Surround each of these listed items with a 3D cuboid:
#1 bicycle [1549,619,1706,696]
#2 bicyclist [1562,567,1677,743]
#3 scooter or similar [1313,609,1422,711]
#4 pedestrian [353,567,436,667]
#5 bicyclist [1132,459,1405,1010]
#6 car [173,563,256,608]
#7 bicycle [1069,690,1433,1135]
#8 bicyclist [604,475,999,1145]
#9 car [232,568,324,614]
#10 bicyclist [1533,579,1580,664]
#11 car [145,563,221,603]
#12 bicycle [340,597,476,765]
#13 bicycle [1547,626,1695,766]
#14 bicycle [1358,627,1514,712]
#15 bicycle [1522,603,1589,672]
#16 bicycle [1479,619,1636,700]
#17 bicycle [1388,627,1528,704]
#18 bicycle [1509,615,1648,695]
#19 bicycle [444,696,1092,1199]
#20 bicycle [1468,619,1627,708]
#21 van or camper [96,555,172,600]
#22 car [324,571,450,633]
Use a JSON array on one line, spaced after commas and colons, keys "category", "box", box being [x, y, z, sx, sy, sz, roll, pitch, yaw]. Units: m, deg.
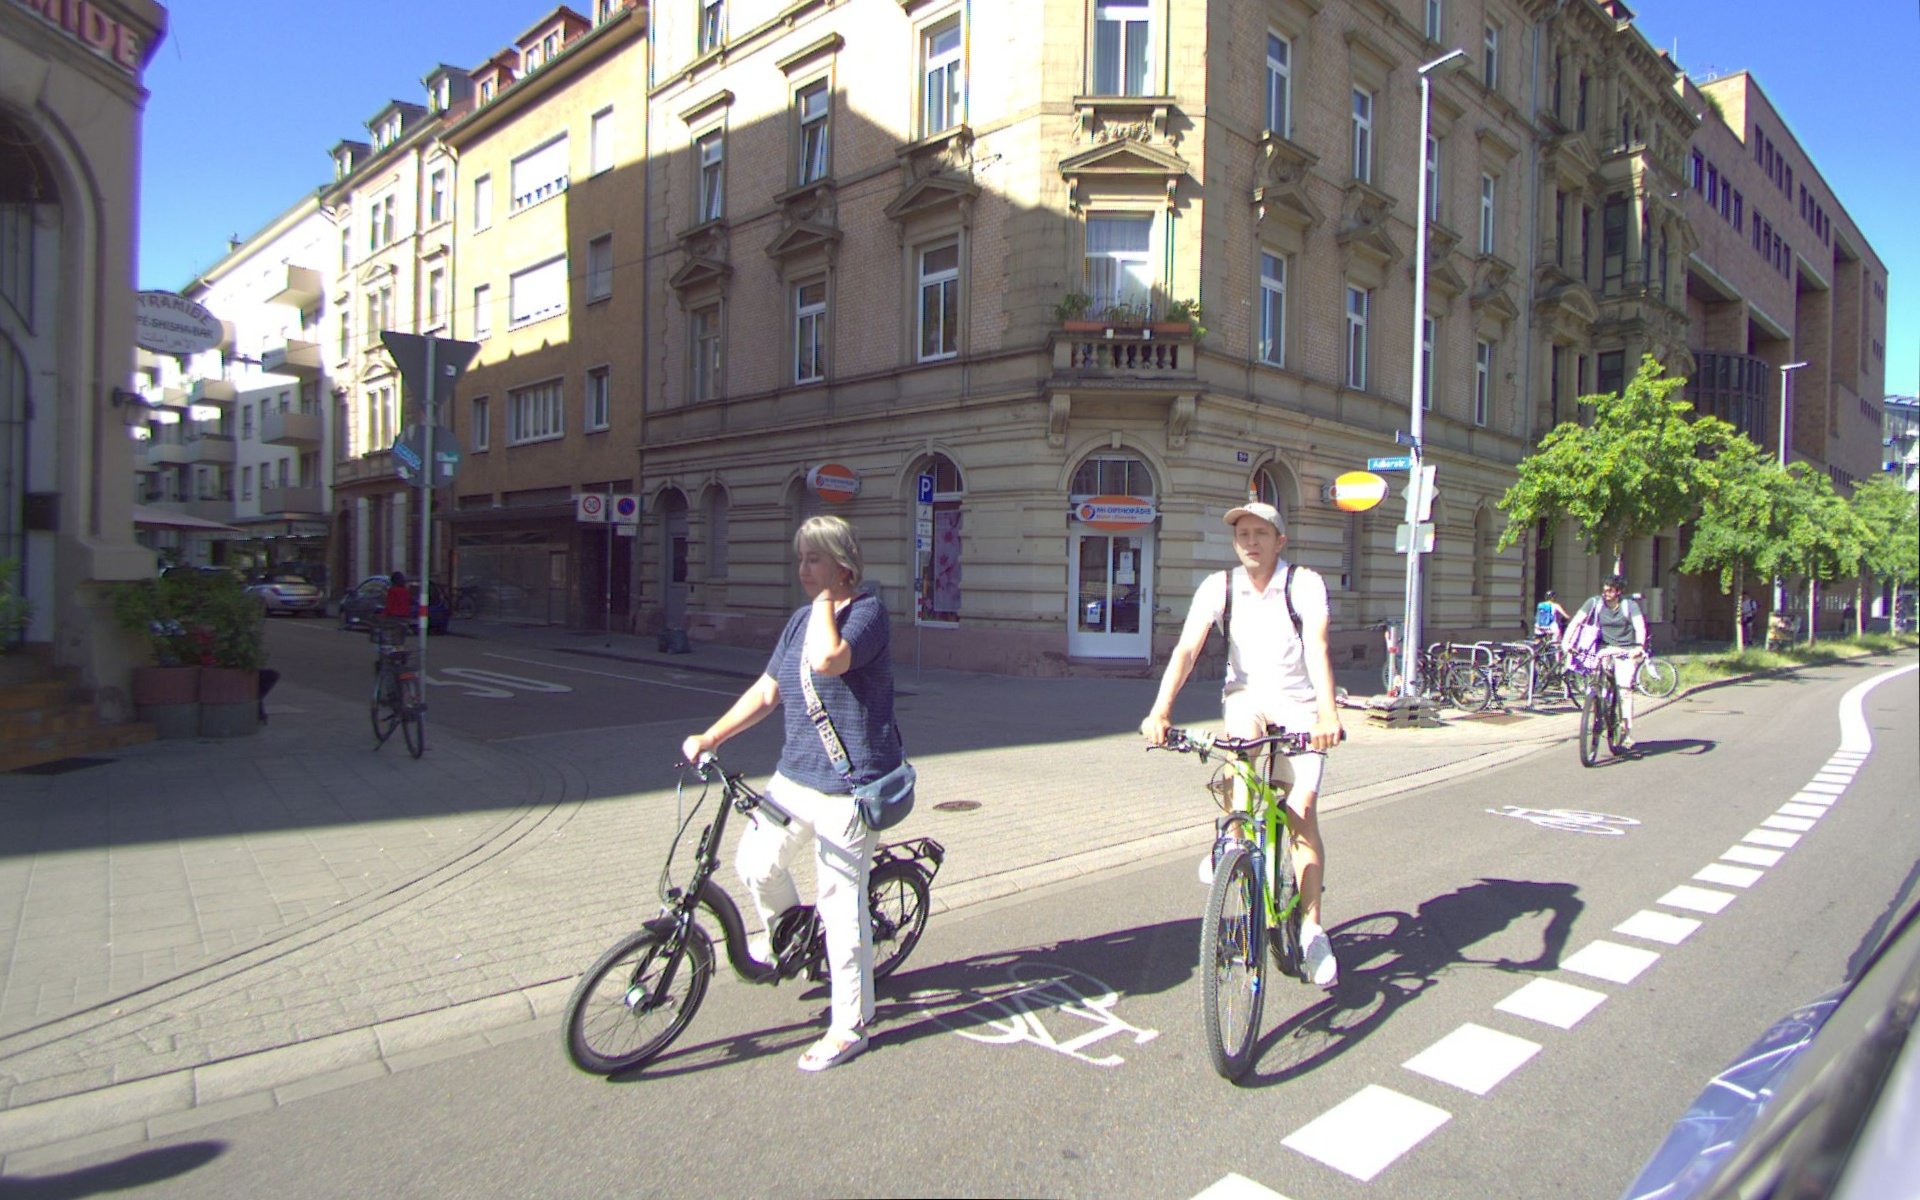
[{"category": "bicycle", "box": [11.502, 0.960, 17.498, 0.833, 1.054, 2.062, 0, 4, -41]}, {"category": "bicyclist", "box": [6.450, 0.507, 9.903, 0.879, 1.625, 0.724, 1, -1, -41]}, {"category": "scooter or similar", "box": [5.240, 0.745, 13.051, 0.479, 1.213, 1.197, 1, 1, -45]}, {"category": "pedestrian", "box": [-9.388, 0.269, 16.813, 0.824, 1.594, 0.901, 0, 0, 22]}, {"category": "bicyclist", "box": [1.149, 0.406, 3.684, 0.696, 1.678, 0.965, 0, -1, 35]}, {"category": "car", "box": [-26.258, -0.525, 35.621, 3.425, 1.424, 1.605, 3, 0, 41]}, {"category": "bicycle", "box": [1.179, 0.928, 3.730, 0.721, 1.019, 1.928, 0, 0, 35]}, {"category": "bicyclist", "box": [-0.515, 0.546, 3.293, 0.971, 1.749, 0.853, 1, -1, -41]}, {"category": "car", "box": [-21.128, -0.296, 31.323, 3.376, 1.338, 1.604, 1, 1, 42]}, {"category": "bicyclist", "box": [11.809, 0.413, 20.031, 0.781, 1.637, 0.578, 0, 1, -43]}, {"category": "car", "box": [-30.015, -0.667, 39.064, 3.425, 1.424, 1.605, 3, 0, 41]}, {"category": "bicycle", "box": [-4.978, 0.657, 9.040, 0.801, 1.247, 2.221, 4, -1, -34]}, {"category": "bicycle", "box": [6.547, 0.885, 9.979, 1.918, 1.209, 0.724, 0, -1, -41]}, {"category": "bicycle", "box": [6.507, 0.923, 13.936, 0.580, 0.922, 1.910, 0, 3, -32]}, {"category": "bicycle", "box": [11.817, 0.712, 20.055, 2.062, 1.268, 0.578, -1, 2, -43]}, {"category": "bicycle", "box": [9.450, 0.903, 16.047, 1.013, 1.043, 1.901, 0, 4, -43]}, {"category": "bicycle", "box": [6.984, 0.895, 14.256, 0.488, 0.937, 1.716, 0, 1, -40]}, {"category": "bicycle", "box": [10.264, 0.877, 16.828, 1.115, 1.074, 1.677, 0, 5, -42]}, {"category": "bicycle", "box": [-0.522, 0.910, 3.285, 1.918, 1.019, 0.829, 0, 0, -41]}, {"category": "bicycle", "box": [8.558, 0.896, 14.802, 0.598, 1.061, 1.873, 0, 4, -45]}, {"category": "van or camper", "box": [-37.835, -1.060, 46.329, 4.527, 1.867, 1.857, 3, 0, 41]}, {"category": "car", "box": [-14.666, 0.015, 25.859, 3.686, 1.428, 1.594, 2, 1, 39]}]
